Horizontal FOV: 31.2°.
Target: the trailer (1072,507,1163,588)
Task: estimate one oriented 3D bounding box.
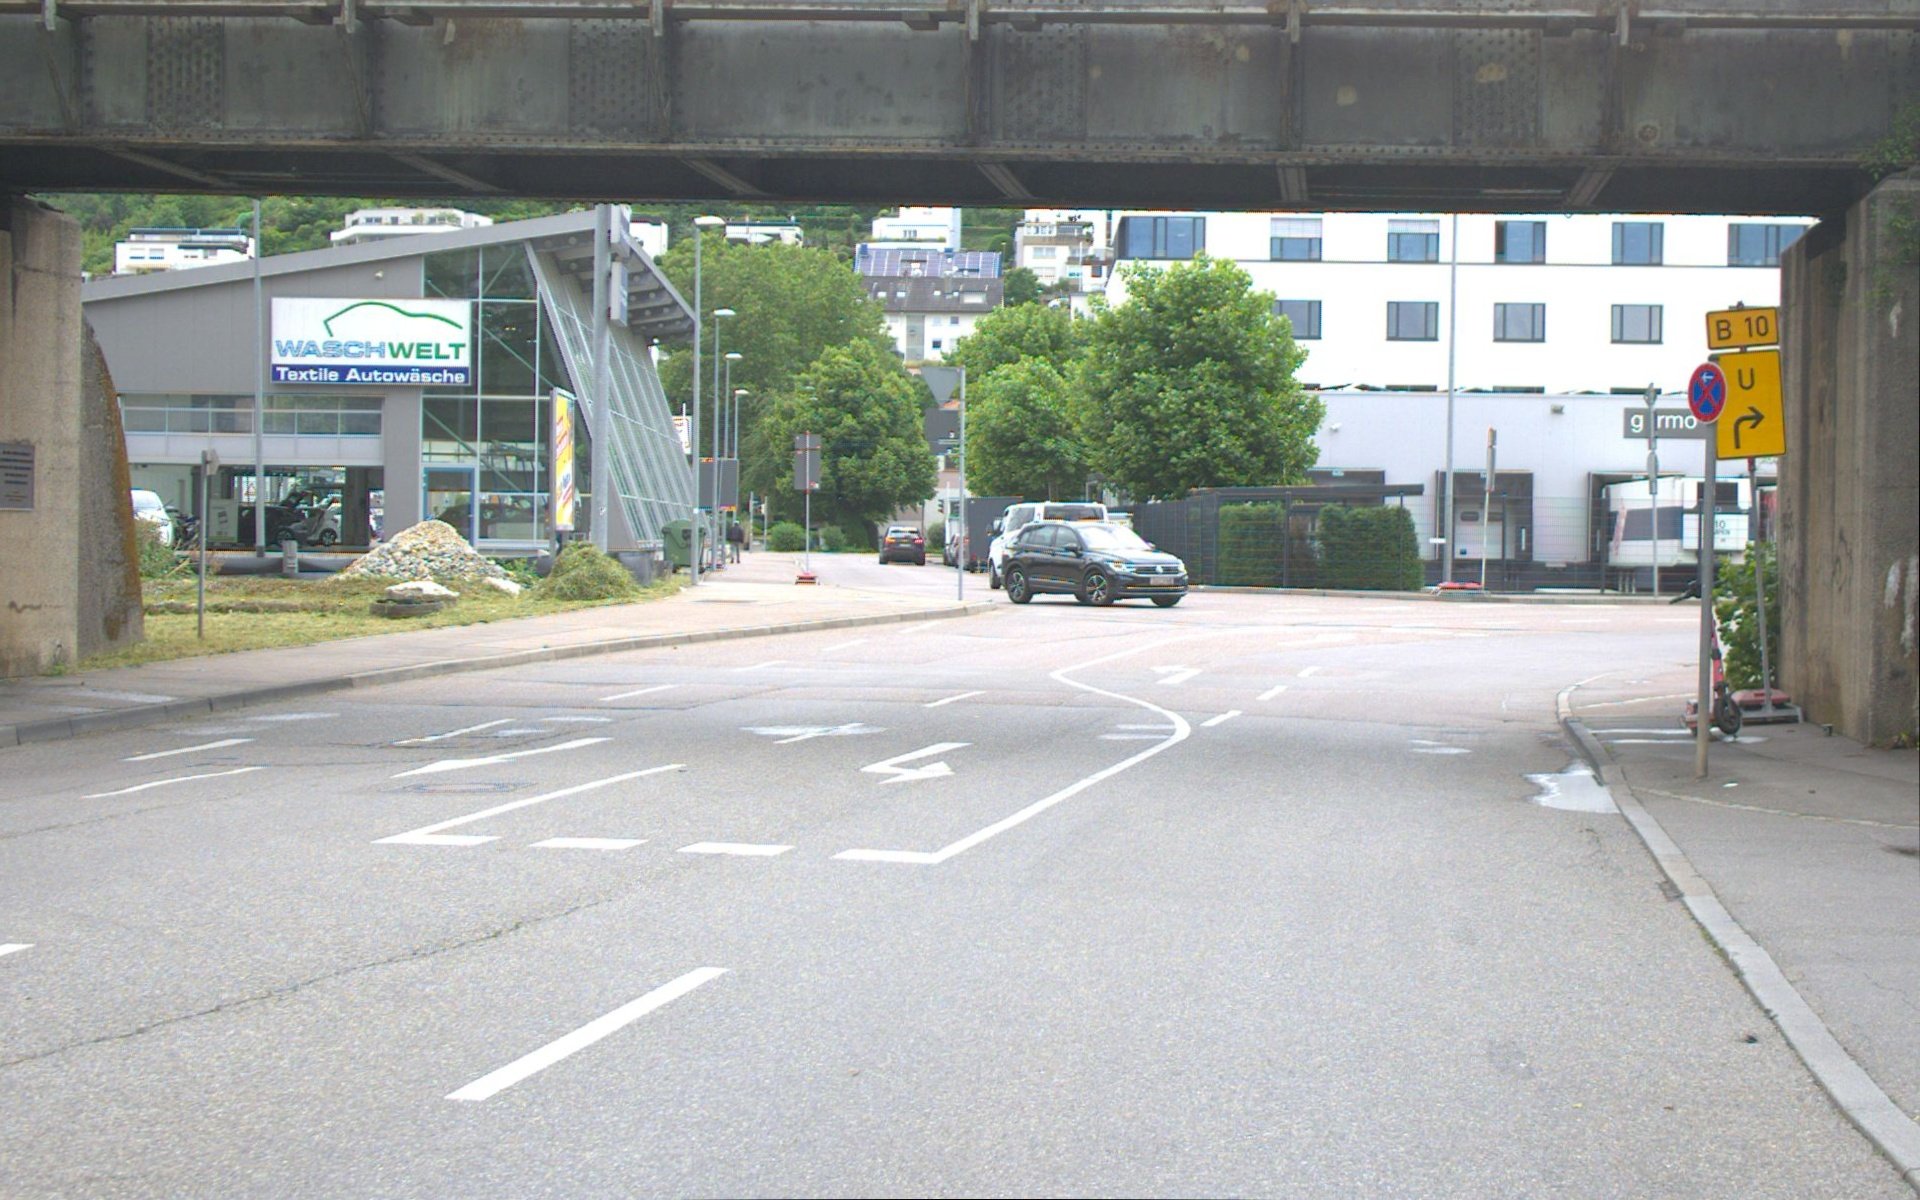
[{"bbox_3d":[4.069,-1.390,89.273,1.993,2.006,4.001,1,2,-2],"label":"trailer"}]

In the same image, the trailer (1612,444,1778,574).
[{"bbox_3d":[24.568,-3.002,115.600,3.081,4.063,11.410,1,1,0],"label":"trailer"}]

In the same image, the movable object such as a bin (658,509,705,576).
[{"bbox_3d":[-7.381,-1.522,91.141,1.142,1.751,1.059,1,0,0],"label":"movable object such as a bin"}]

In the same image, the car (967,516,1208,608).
[{"bbox_3d":[2.433,-0.742,66.270,4.368,1.678,1.995,2,1,43],"label":"car"}]

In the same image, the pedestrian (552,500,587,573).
[{"bbox_3d":[-10.016,-1.624,88.171,0.825,1.861,0.718,0,1,-13],"label":"pedestrian"}]

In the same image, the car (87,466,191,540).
[{"bbox_3d":[-18.038,-2.124,75.420,1.993,1.530,4.001,1,1,-16],"label":"car"}]

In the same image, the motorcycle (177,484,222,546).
[{"bbox_3d":[-21.319,-2.383,96.401,0.840,1.704,2.364,1,1,-4],"label":"motorcycle"}]

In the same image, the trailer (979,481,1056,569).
[{"bbox_3d":[2.508,-3.346,151.908,3.068,3.746,4.935,1,2,-2],"label":"trailer"}]

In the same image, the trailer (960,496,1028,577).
[{"bbox_3d":[1.261,-2.407,128.896,2.279,2.943,4.001,1,2,-2],"label":"trailer"}]

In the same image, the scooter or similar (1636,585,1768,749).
[{"bbox_3d":[5.943,0.517,27.596,0.504,1.232,1.670,-3,1,-5],"label":"scooter or similar"}]

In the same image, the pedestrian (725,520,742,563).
[{"bbox_3d":[-8.837,-2.271,134.224,0.627,1.667,0.758,1,0,-5],"label":"pedestrian"}]

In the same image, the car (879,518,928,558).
[{"bbox_3d":[-2.440,-2.668,149.117,1.993,1.678,4.000,1,1,0],"label":"car"}]

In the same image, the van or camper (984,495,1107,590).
[{"bbox_3d":[1.932,-1.308,78.761,2.098,2.076,4.206,1,1,-8],"label":"van or camper"}]
